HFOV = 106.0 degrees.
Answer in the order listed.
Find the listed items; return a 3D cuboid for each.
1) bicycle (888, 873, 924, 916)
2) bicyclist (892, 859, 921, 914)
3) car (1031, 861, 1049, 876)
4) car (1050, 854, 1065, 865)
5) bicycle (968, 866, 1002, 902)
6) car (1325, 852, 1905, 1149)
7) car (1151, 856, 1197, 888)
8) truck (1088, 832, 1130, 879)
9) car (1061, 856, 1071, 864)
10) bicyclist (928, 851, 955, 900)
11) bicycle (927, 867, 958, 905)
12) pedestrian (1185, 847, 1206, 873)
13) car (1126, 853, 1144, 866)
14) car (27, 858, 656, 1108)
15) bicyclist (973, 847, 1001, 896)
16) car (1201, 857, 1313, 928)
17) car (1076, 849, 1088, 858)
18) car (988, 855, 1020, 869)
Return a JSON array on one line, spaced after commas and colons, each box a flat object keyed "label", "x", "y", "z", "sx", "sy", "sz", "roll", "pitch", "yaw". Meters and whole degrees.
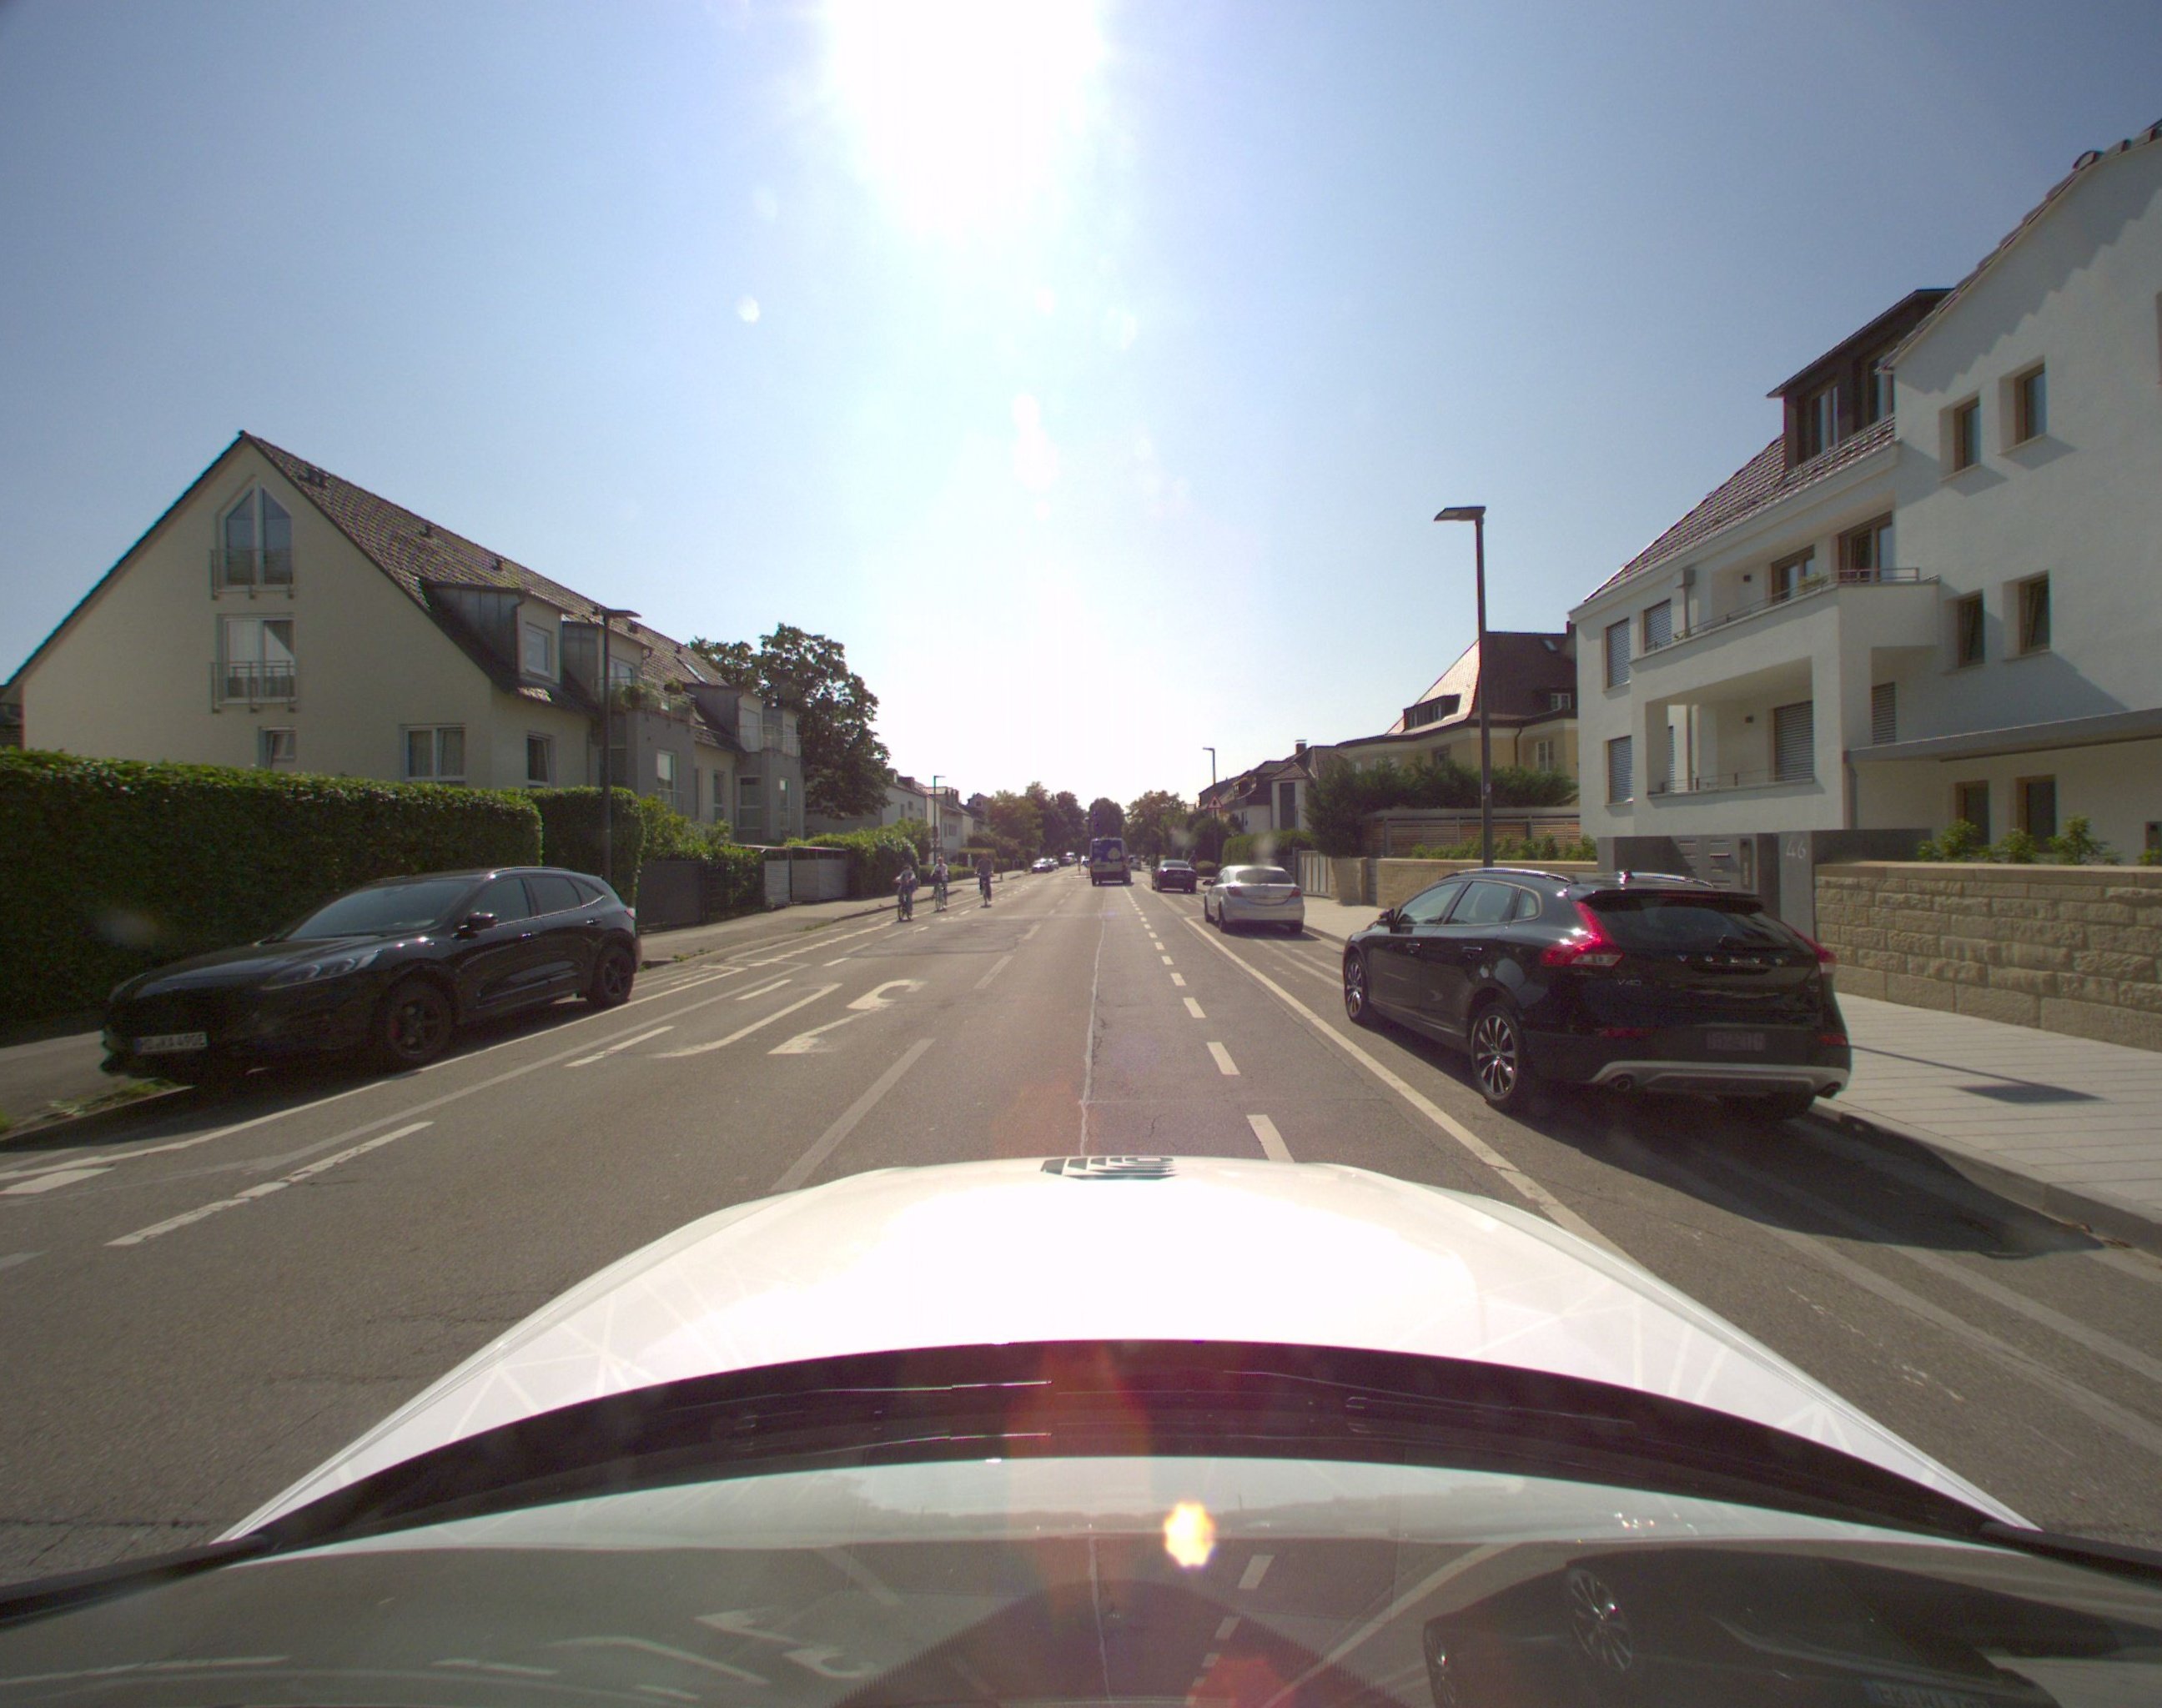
[{"label": "bicycle", "x": -4.821, "y": 1.093, "z": 22.525, "sx": 0.598, "sy": 1.105, "sz": 1.347, "roll": -3, "pitch": -1, "yaw": 2}, {"label": "bicyclist", "x": -4.830, "y": 0.884, "z": 22.598, "sx": 0.488, "sy": 1.454, "sz": 0.965, "roll": -3, "pitch": -1, "yaw": 2}, {"label": "car", "x": -4.498, "y": 1.557, "z": 89.064, "sx": 1.780, "sy": 1.440, "sz": 4.152, "roll": -2, "pitch": 0, "yaw": -2}, {"label": "car", "x": -3.233, "y": 0.785, "z": 112.502, "sx": 1.779, "sy": 1.440, "sz": 4.000, "roll": -2, "pitch": 0, "yaw": 1}, {"label": "bicycle", "x": -3.356, "y": 1.019, "z": 28.599, "sx": 0.779, "sy": 1.166, "sz": 2.421, "roll": -3, "pitch": -1, "yaw": 2}, {"label": "car", "x": 3.364, "y": 0.769, "z": 6.247, "sx": 1.716, "sy": 1.449, "sz": 4.168, "roll": 2, "pitch": -1, "yaw": 0}, {"label": "car", "x": 4.191, "y": 0.768, "z": 37.306, "sx": 1.730, "sy": 1.329, "sz": 4.261, "roll": 1, "pitch": 0, "yaw": 2}, {"label": "truck", "x": 1.668, "y": 0.102, "z": 47.432, "sx": 2.262, "sy": 2.571, "sz": 4.396, "roll": -1, "pitch": -1, "yaw": 4}, {"label": "car", "x": -2.697, "y": 1.094, "z": 147.171, "sx": 1.775, "sy": 1.460, "sz": 4.086, "roll": -2, "pitch": 0, "yaw": 0}, {"label": "bicyclist", "x": -4.651, "y": 0.699, "z": 27.217, "sx": 0.673, "sy": 1.580, "sz": 0.860, "roll": -3, "pitch": -1, "yaw": 2}, {"label": "bicycle", "x": -4.584, "y": 1.048, "z": 27.040, "sx": 0.557, "sy": 1.185, "sz": 2.037, "roll": -3, "pitch": -1, "yaw": 2}, {"label": "pedestrian", "x": 8.063, "y": 0.424, "z": 57.426, "sx": 0.904, "sy": 1.872, "sz": 1.177, "roll": 0, "pitch": -1, "yaw": -32}, {"label": "car", "x": 6.104, "y": 0.598, "z": 92.318, "sx": 1.734, "sy": 1.402, "sz": 4.073, "roll": 0, "pitch": 0, "yaw": 0}, {"label": "car", "x": -6.316, "y": 0.910, "z": 7.891, "sx": 1.844, "sy": 1.611, "sz": 4.450, "roll": -4, "pitch": 0, "yaw": 2}, {"label": "bicyclist", "x": -3.330, "y": 0.603, "z": 28.872, "sx": 0.746, "sy": 1.667, "sz": 1.022, "roll": -3, "pitch": -1, "yaw": 2}, {"label": "car", "x": 3.781, "y": 0.810, "z": 18.131, "sx": 1.730, "sy": 1.329, "sz": 4.078, "roll": 2, "pitch": -1, "yaw": 2}, {"label": "car", "x": 0.151, "y": -0.088, "z": 152.200, "sx": 1.907, "sy": 1.666, "sz": 4.508, "roll": -2, "pitch": -1, "yaw": 2}, {"label": "car", "x": -10.080, "y": 1.044, "z": 107.409, "sx": 3.972, "sy": 1.759, "sz": 2.001, "roll": 0, "pitch": 0, "yaw": 1}]
